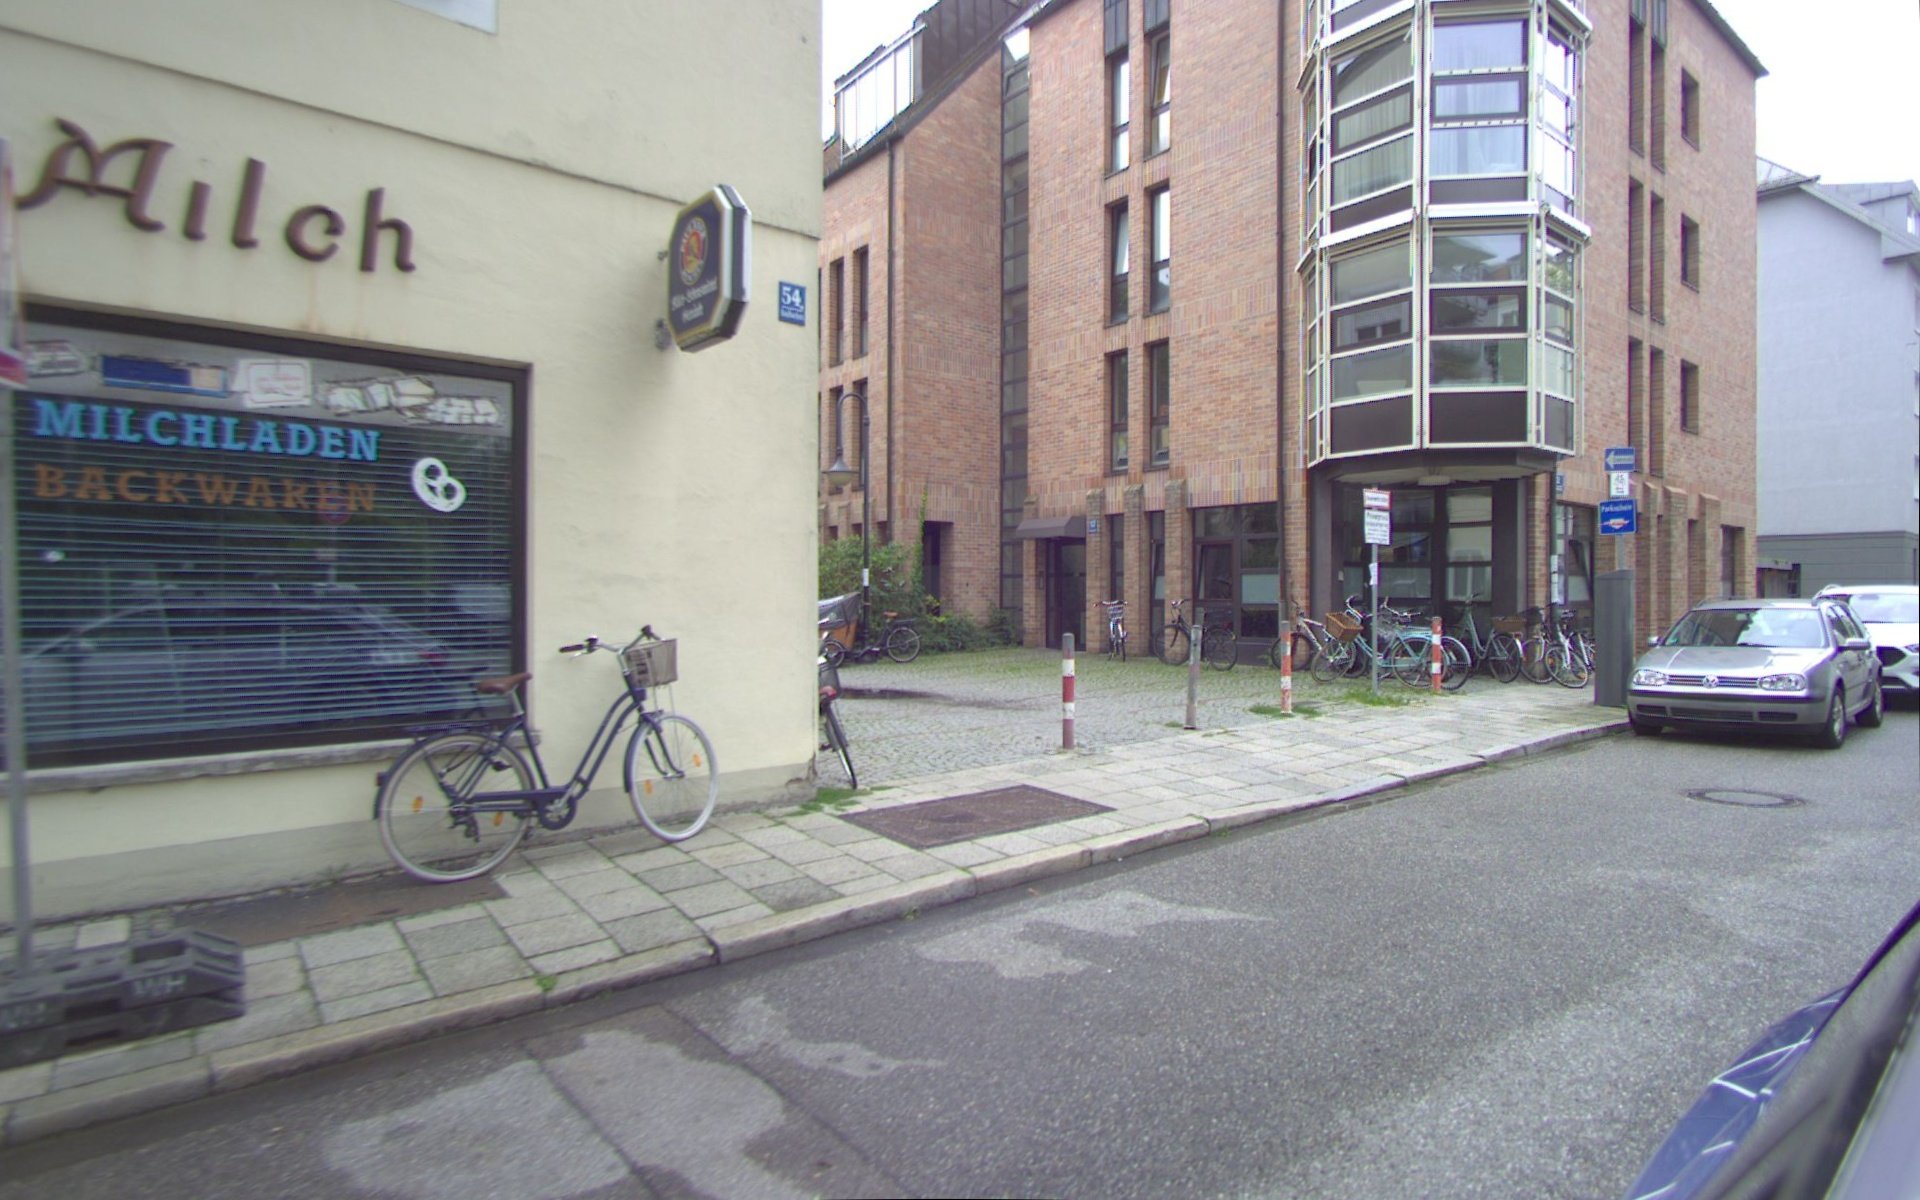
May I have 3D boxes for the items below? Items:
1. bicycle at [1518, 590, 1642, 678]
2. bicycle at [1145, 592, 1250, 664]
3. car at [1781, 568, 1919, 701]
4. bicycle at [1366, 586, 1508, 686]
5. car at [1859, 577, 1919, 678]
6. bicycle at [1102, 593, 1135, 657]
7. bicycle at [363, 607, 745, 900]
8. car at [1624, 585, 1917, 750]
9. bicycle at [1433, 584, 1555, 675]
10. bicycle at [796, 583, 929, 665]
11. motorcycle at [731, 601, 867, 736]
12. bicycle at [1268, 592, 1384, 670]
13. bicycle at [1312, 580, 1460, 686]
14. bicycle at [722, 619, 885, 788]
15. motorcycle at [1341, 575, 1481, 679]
[{"bbox_3d":[9.324,0.485,15.210,1.743,1.232,0.744,-1,1,-25],"label":"bicycle"},{"bbox_3d":[3.819,0.423,16.402,0.434,1.086,1.888,0,1,-32],"label":"bicycle"},{"bbox_3d":[13.223,0.411,14.324,4.377,1.636,1.723,-1,0,-41],"label":"car"},{"bbox_3d":[6.416,0.448,13.705,0.434,1.201,1.756,0,3,-32],"label":"bicycle"},{"bbox_3d":[16.589,0.414,17.081,3.741,1.577,1.618,-1,0,-41],"label":"car"},{"bbox_3d":[2.812,0.420,18.007,0.434,1.086,1.425,0,1,4],"label":"bicycle"},{"bbox_3d":[-2.020,0.693,5.241,1.786,1.229,0.411,-2,4,-39],"label":"bicycle"},{"bbox_3d":[8.898,0.583,10.978,4.283,1.453,1.723,-1,0,-41],"label":"car"},{"bbox_3d":[7.927,0.397,15.134,0.581,1.244,1.881,-1,2,-10],"label":"bicycle"},{"bbox_3d":[-1.698,0.398,17.727,2.219,1.284,0.810,-2,2,-5],"label":"bicycle"},{"bbox_3d":[-1.476,0.589,9.649,0.612,1.136,1.866,1,0,13],"label":"motorcycle"},{"bbox_3d":[5.475,0.440,15.239,0.434,1.086,1.755,0,1,-32],"label":"bicycle"},{"bbox_3d":[5.676,0.404,13.512,1.787,1.339,0.582,0,1,26],"label":"bicycle"},{"bbox_3d":[-1.205,0.700,7.507,0.404,1.039,1.705,-2,2,-38],"label":"bicycle"},{"bbox_3d":[6.517,0.350,14.700,0.543,1.402,1.762,0,2,-43],"label":"motorcycle"}]
